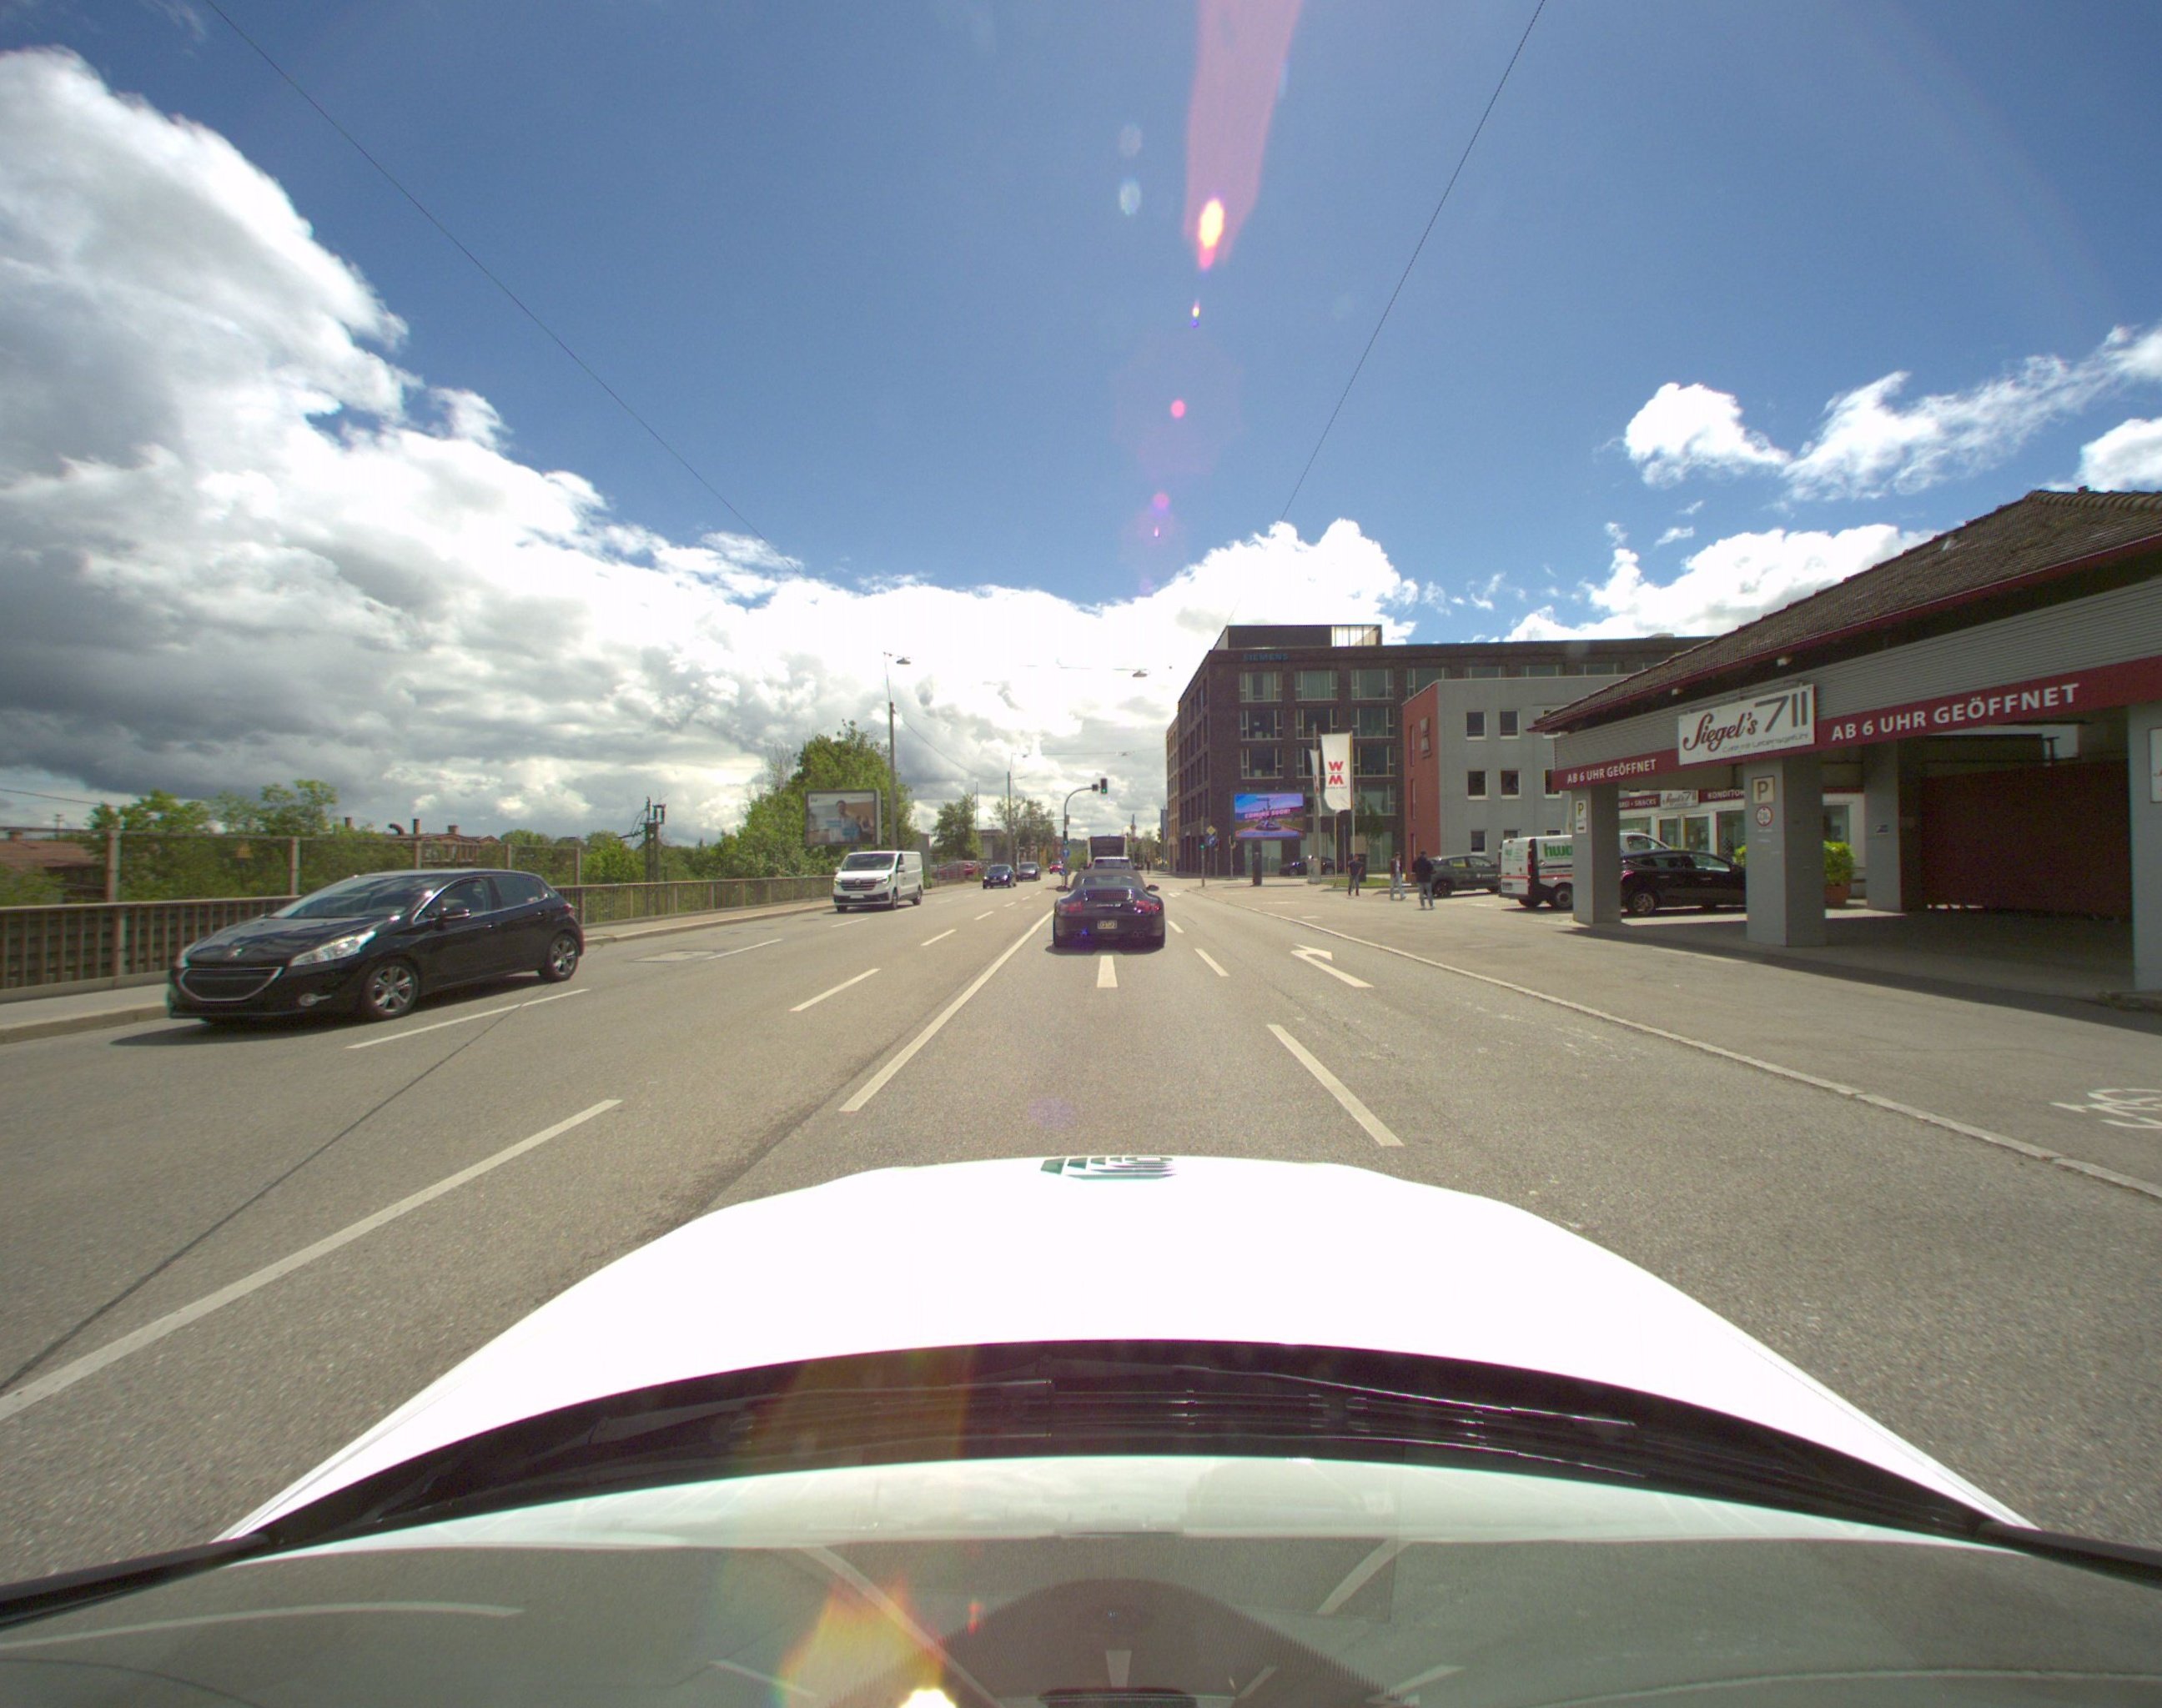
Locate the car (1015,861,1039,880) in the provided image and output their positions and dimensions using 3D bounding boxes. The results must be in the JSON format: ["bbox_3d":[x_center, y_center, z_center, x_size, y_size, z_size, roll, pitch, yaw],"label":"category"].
[{"bbox_3d":[-4.659,1.422,70.581,1.656,1.547,3.804,-1,0,2],"label":"car"}]

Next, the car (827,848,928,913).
[{"bbox_3d":[-6.766,0.828,27.694,1.895,1.887,5.314,-3,0,1],"label":"car"}]

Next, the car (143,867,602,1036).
[{"bbox_3d":[-7.447,0.896,9.207,1.622,1.430,4.001,-1,0,1],"label":"car"}]

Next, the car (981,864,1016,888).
[{"bbox_3d":[-5.157,1.334,51.280,1.656,1.416,3.804,-1,0,2],"label":"car"}]

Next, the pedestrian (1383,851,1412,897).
[{"bbox_3d":[11.732,0.729,30.229,0.705,1.696,0.924,0,0,-2],"label":"pedestrian"}]

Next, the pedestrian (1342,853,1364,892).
[{"bbox_3d":[11.587,0.776,34.737,0.668,1.661,0.742,-1,-1,0],"label":"pedestrian"}]

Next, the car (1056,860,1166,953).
[{"bbox_3d":[0.488,0.832,14.664,1.714,1.275,4.089,0,2,0],"label":"car"}]

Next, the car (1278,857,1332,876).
[{"bbox_3d":[17.846,0.987,64.939,3.915,1.431,1.474,-1,0,1],"label":"car"}]

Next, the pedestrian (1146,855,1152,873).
[{"bbox_3d":[7.658,1.151,91.810,0.664,2.014,0.769,-1,-1,0],"label":"pedestrian"}]

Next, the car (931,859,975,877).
[{"bbox_3d":[-11.519,1.240,73.449,3.788,1.547,1.663,-1,0,-8],"label":"car"}]

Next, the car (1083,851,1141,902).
[{"bbox_3d":[1.054,0.757,29.798,1.874,1.594,4.228,1,2,-1],"label":"car"}]

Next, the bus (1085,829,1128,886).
[{"bbox_3d":[1.827,0.050,56.998,2.678,3.254,12.068,1,3,2],"label":"bus"}]

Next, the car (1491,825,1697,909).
[{"bbox_3d":[13.708,0.348,21.980,4.214,1.936,2.030,-3,-1,2],"label":"car"}]

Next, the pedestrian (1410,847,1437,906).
[{"bbox_3d":[10.038,0.647,23.887,0.673,1.696,0.602,-1,0,26],"label":"pedestrian"}]

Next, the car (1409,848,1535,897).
[{"bbox_3d":[14.311,0.670,29.934,3.745,1.440,1.720,-4,-1,2],"label":"car"}]

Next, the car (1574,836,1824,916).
[{"bbox_3d":[14.106,0.496,18.787,4.284,1.513,1.847,-3,-1,1],"label":"car"}]

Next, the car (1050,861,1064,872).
[{"bbox_3d":[-3.140,1.626,107.835,1.656,1.416,3.804,-1,0,2],"label":"car"}]

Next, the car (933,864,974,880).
[{"bbox_3d":[-10.967,1.520,70.210,3.510,1.264,1.386,-1,0,-8],"label":"car"}]
